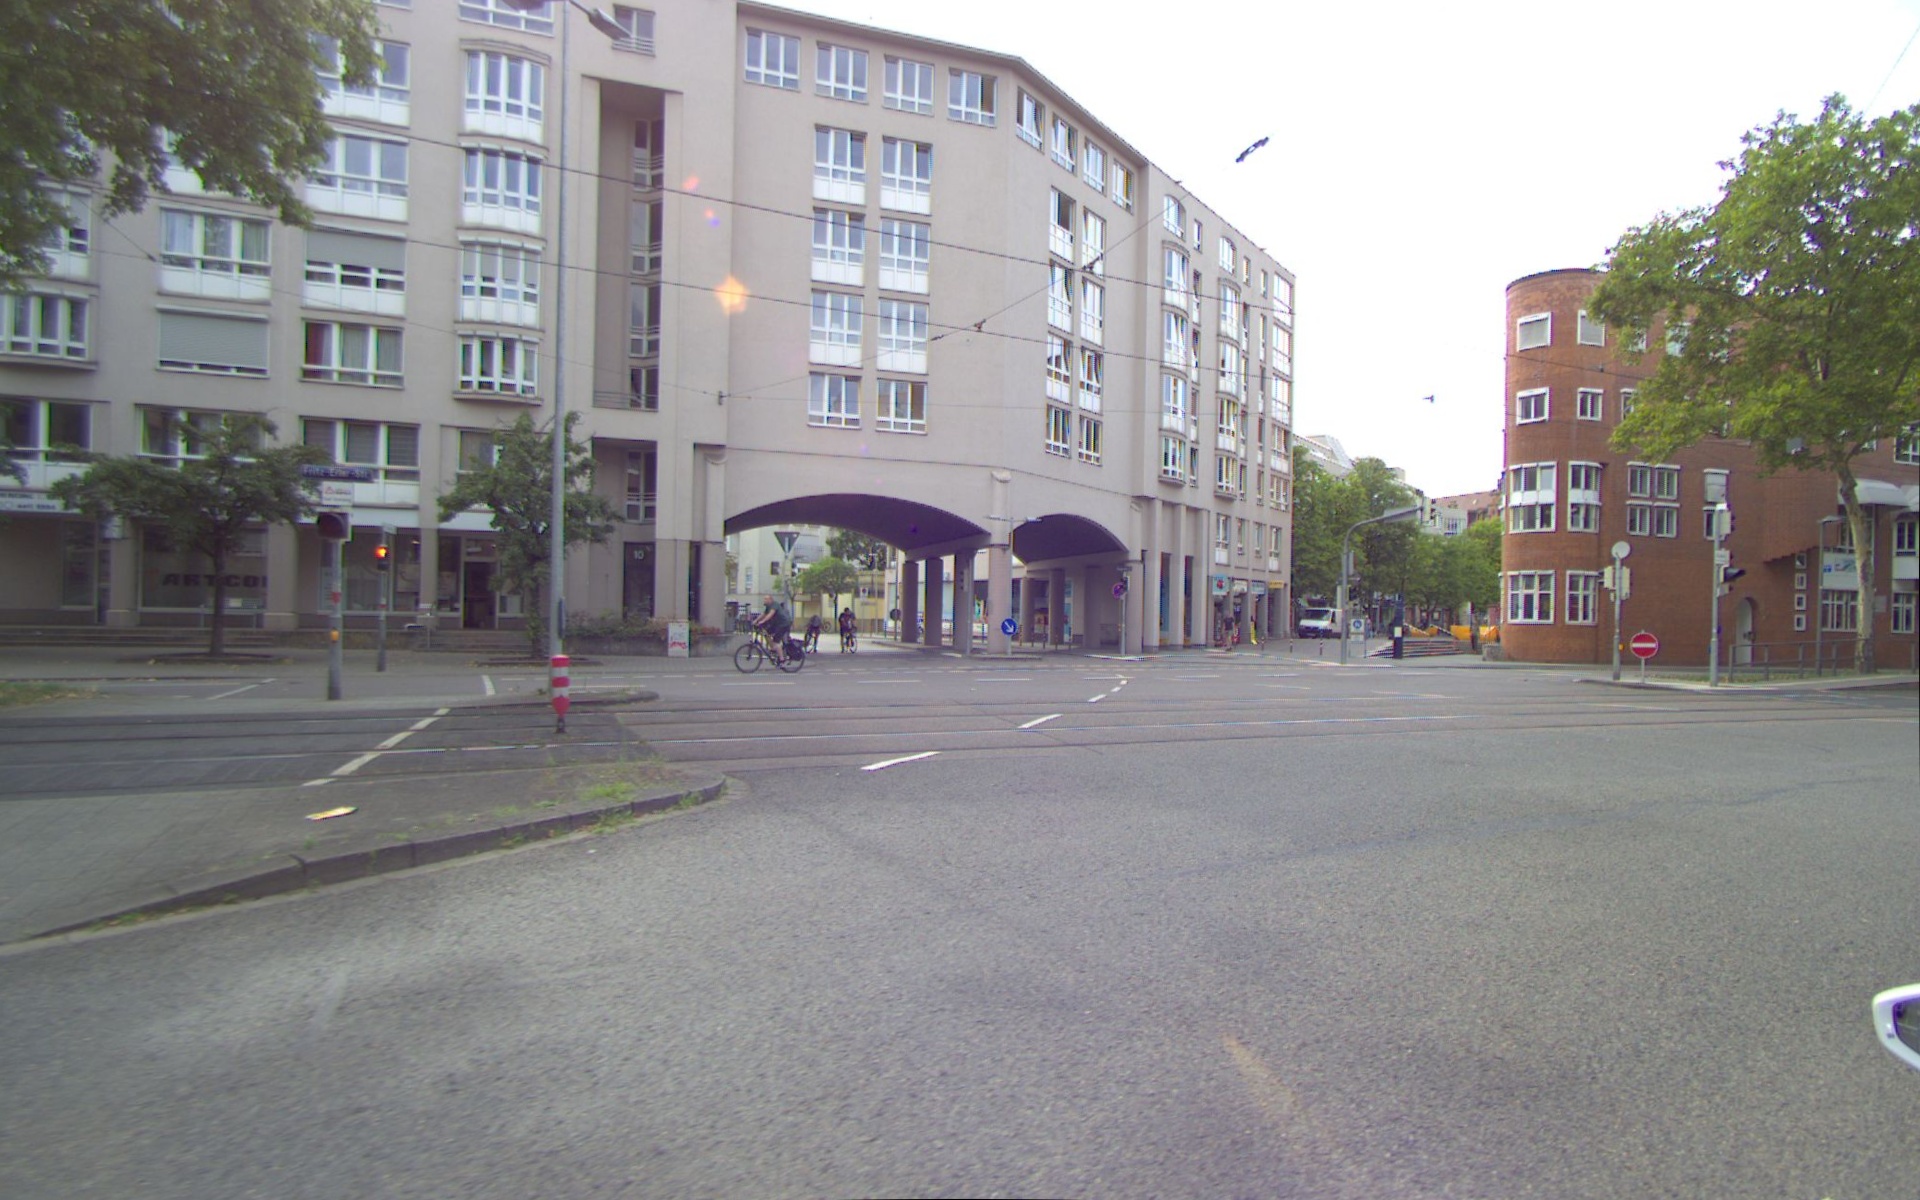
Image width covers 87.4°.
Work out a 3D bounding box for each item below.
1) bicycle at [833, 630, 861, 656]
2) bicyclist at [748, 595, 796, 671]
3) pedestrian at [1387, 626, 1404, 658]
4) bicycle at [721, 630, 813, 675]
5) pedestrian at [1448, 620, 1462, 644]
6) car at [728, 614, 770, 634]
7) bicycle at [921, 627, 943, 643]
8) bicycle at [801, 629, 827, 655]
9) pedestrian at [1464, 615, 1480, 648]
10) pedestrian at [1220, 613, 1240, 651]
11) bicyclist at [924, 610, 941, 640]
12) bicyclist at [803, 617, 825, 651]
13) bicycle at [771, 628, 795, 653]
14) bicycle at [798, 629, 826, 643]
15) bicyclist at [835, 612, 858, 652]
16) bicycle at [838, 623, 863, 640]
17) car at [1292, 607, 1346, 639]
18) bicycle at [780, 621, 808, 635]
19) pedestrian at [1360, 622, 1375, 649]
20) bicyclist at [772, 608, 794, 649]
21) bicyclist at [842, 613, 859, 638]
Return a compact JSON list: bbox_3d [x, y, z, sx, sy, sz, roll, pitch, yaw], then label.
[{"bbox_3d":[-4.441,1.660,39.281,0.753,0.923,2.180,1,-1,-15],"label":"bicycle"},{"bbox_3d":[-4.772,0.836,25.457,1.066,1.873,0.665,1,-1,-25],"label":"bicyclist"},{"bbox_3d":[27.036,2.601,62.302,0.780,1.990,0.802,1,0,37],"label":"pedestrian"},{"bbox_3d":[-4.881,1.317,25.401,2.179,1.107,0.675,1,-1,-25],"label":"bicycle"},{"bbox_3d":[43.326,2.826,87.956,0.852,2.040,1.339,1,-1,37],"label":"pedestrian"},{"bbox_3d":[-17.587,2.007,83.715,1.695,1.584,3.951,2,-1,-41],"label":"car"},{"bbox_3d":[-1.517,1.887,54.247,0.570,0.847,1.978,1,-1,-20],"label":"bicycle"},{"bbox_3d":[-5.712,1.637,39.214,0.753,0.923,2.180,1,-1,-15],"label":"bicycle"},{"bbox_3d":[29.612,1.819,58.098,0.683,1.841,0.654,1,-1,35],"label":"pedestrian"},{"bbox_3d":[12.325,1.444,45.773,0.664,1.702,0.751,1,0,34],"label":"pedestrian"},{"bbox_3d":[-1.485,1.326,54.098,0.573,1.583,1.029,1,-1,-20],"label":"bicyclist"},{"bbox_3d":[-5.702,1.325,39.194,0.755,1.321,0.880,1,-1,-15],"label":"bicyclist"},{"bbox_3d":[-7.134,1.614,40.413,0.753,0.923,2.180,1,-1,-15],"label":"bicycle"},{"bbox_3d":[-11.368,2.741,77.199,2.088,1.062,0.629,2,-1,-38],"label":"bicycle"},{"bbox_3d":[-4.432,1.244,39.292,0.755,1.559,0.880,1,-1,-15],"label":"bicyclist"},{"bbox_3d":[-6.971,2.000,63.975,0.706,1.062,2.086,1,-1,-34],"label":"bicycle"},{"bbox_3d":[23.101,1.474,64.540,1.967,1.962,4.928,1,-1,36],"label":"car"},{"bbox_3d":[-12.876,2.181,78.115,2.089,1.062,0.658,2,-1,-40],"label":"bicycle"},{"bbox_3d":[26.062,2.246,64.283,0.683,1.693,0.829,1,-1,35],"label":"pedestrian"},{"bbox_3d":[-7.123,1.138,40.422,0.755,1.636,0.880,1,-1,-15],"label":"bicyclist"},{"bbox_3d":[-6.983,1.615,63.996,0.698,1.545,0.938,1,0,-34],"label":"bicyclist"}]
